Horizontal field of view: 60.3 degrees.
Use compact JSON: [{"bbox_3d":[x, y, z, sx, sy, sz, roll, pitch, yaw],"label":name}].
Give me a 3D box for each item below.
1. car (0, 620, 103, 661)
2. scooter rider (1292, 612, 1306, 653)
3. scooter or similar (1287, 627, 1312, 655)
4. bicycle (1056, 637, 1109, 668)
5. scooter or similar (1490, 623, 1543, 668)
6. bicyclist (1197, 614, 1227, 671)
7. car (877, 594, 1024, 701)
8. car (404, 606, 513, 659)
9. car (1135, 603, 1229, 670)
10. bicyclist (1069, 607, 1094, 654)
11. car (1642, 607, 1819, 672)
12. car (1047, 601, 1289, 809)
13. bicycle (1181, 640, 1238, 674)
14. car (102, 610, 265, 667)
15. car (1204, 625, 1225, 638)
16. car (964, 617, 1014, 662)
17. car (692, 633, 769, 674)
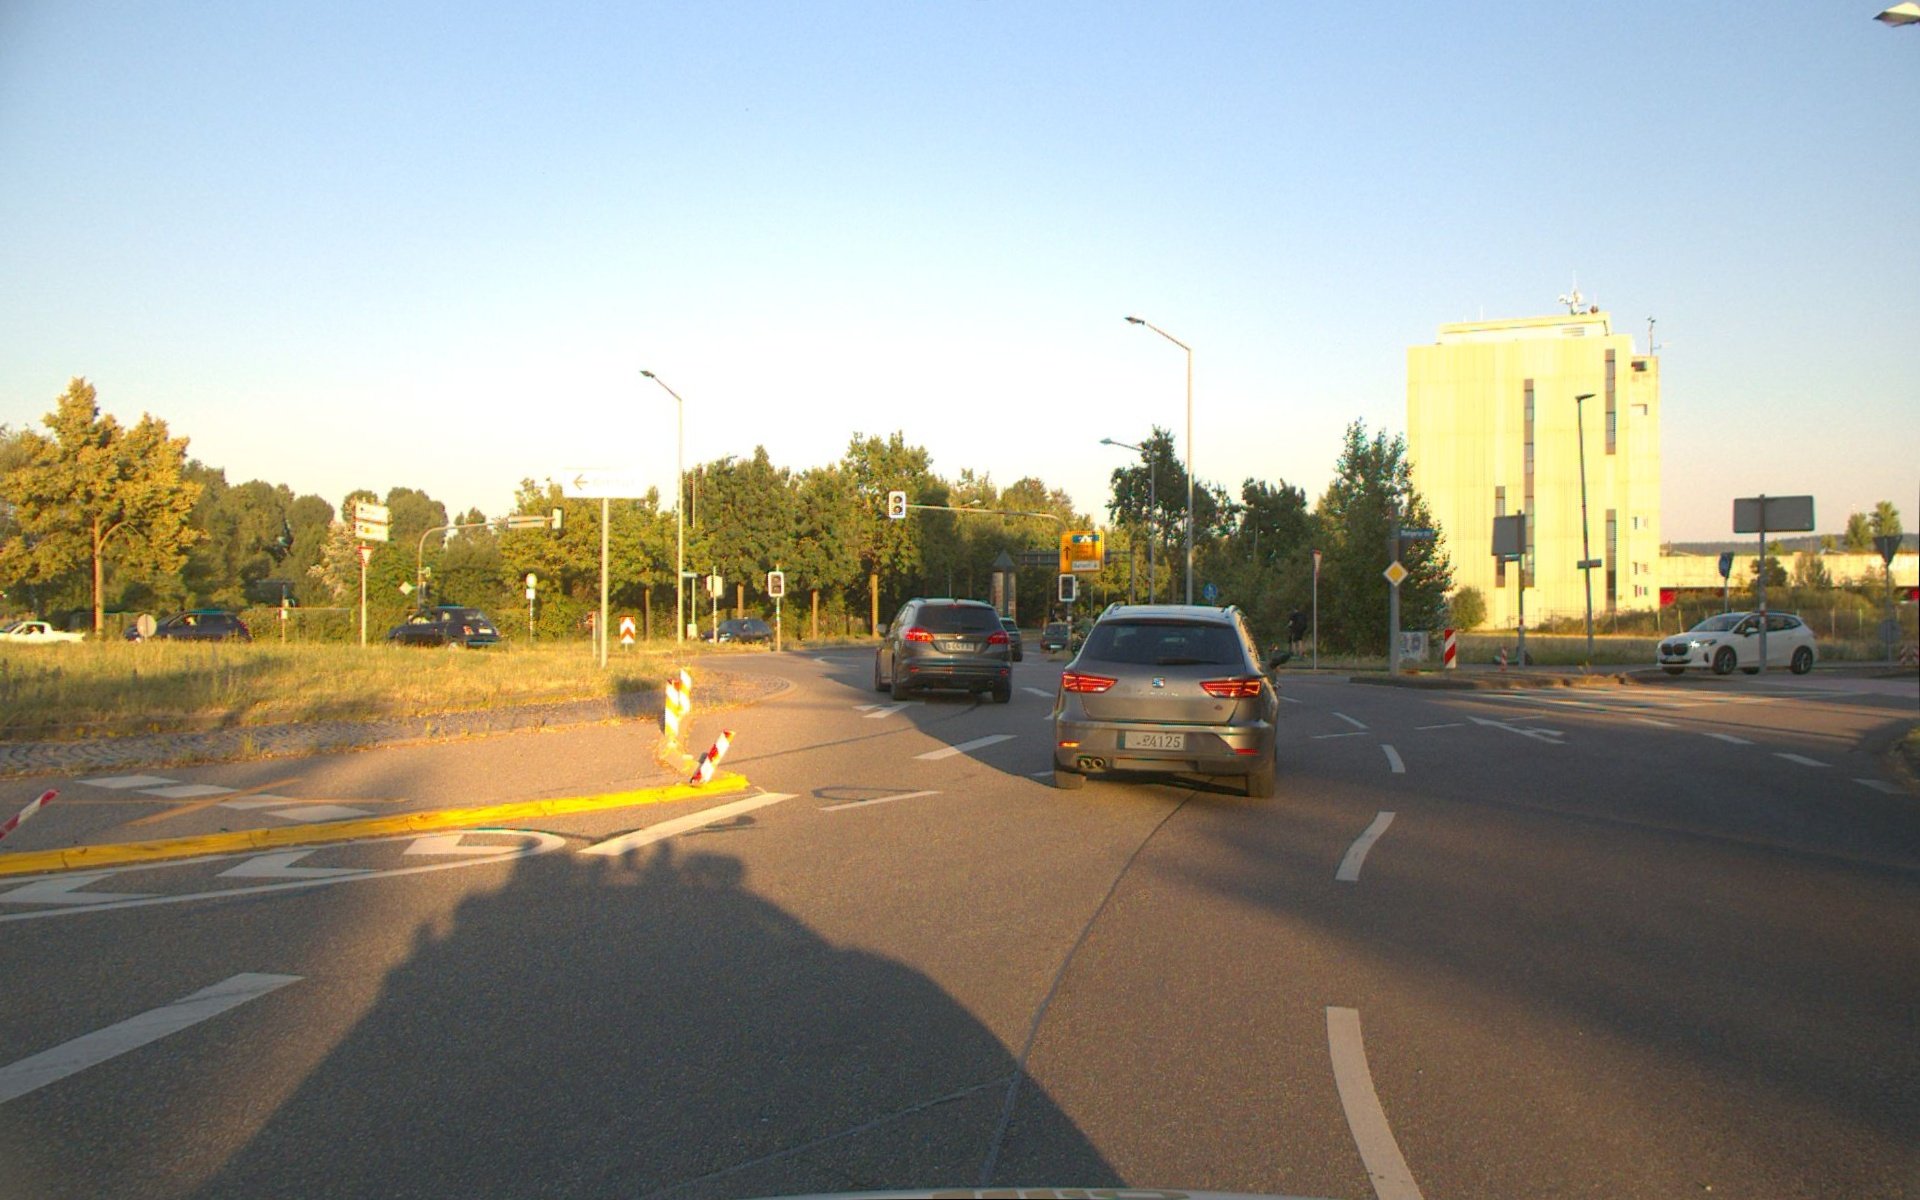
[{"bbox_3d":[-30.840,1.349,55.123,1.553,1.277,3.754,0,-2,44],"label":"car"},{"bbox_3d":[11.285,1.082,55.062,0.261,1.362,0.403,1,-1,-27],"label":"scooter rider"},{"bbox_3d":[11.312,1.356,55.078,0.243,0.930,1.030,1,-1,-27],"label":"scooter or similar"},{"bbox_3d":[4.642,1.987,62.745,1.882,1.104,0.457,-3,-2,18],"label":"bicycle"},{"bbox_3d":[14.824,1.208,44.104,0.437,1.183,1.366,1,-1,-34],"label":"scooter or similar"},{"bbox_3d":[8.744,1.475,57.354,0.888,1.931,0.641,-2,-2,17],"label":"bicyclist"},{"bbox_3d":[-0.227,0.680,25.213,1.713,1.492,4.127,0,-1,-8],"label":"car"},{"bbox_3d":[-14.584,0.919,47.972,1.733,1.471,4.079,1,-1,-37],"label":"car"},{"bbox_3d":[5.358,0.854,40.309,1.775,1.552,4.135,0,-1,1],"label":"car"},{"bbox_3d":[4.606,1.161,62.786,0.751,1.732,0.641,-3,-2,17],"label":"bicyclist"},{"bbox_3d":[19.720,1.021,42.332,4.024,1.586,1.878,1,-2,-22],"label":"car"},{"bbox_3d":[1.835,0.752,13.763,1.708,1.449,4.138,0,-1,10],"label":"car"},{"bbox_3d":[8.657,1.982,57.399,1.881,1.104,0.457,-2,-2,18],"label":"bicycle"},{"bbox_3d":[-25.353,1.223,54.089,4.552,1.778,1.727,1,-1,-39],"label":"car"},{"bbox_3d":[28.884,3.567,187.703,1.686,1.474,4.551,0,-1,18],"label":"car"},{"bbox_3d":[1.014,1.384,58.712,1.710,1.515,4.134,0,-1,0],"label":"car"},{"bbox_3d":[-10.572,2.458,76.566,1.709,1.778,4.599,0,-1,17],"label":"car"}]
